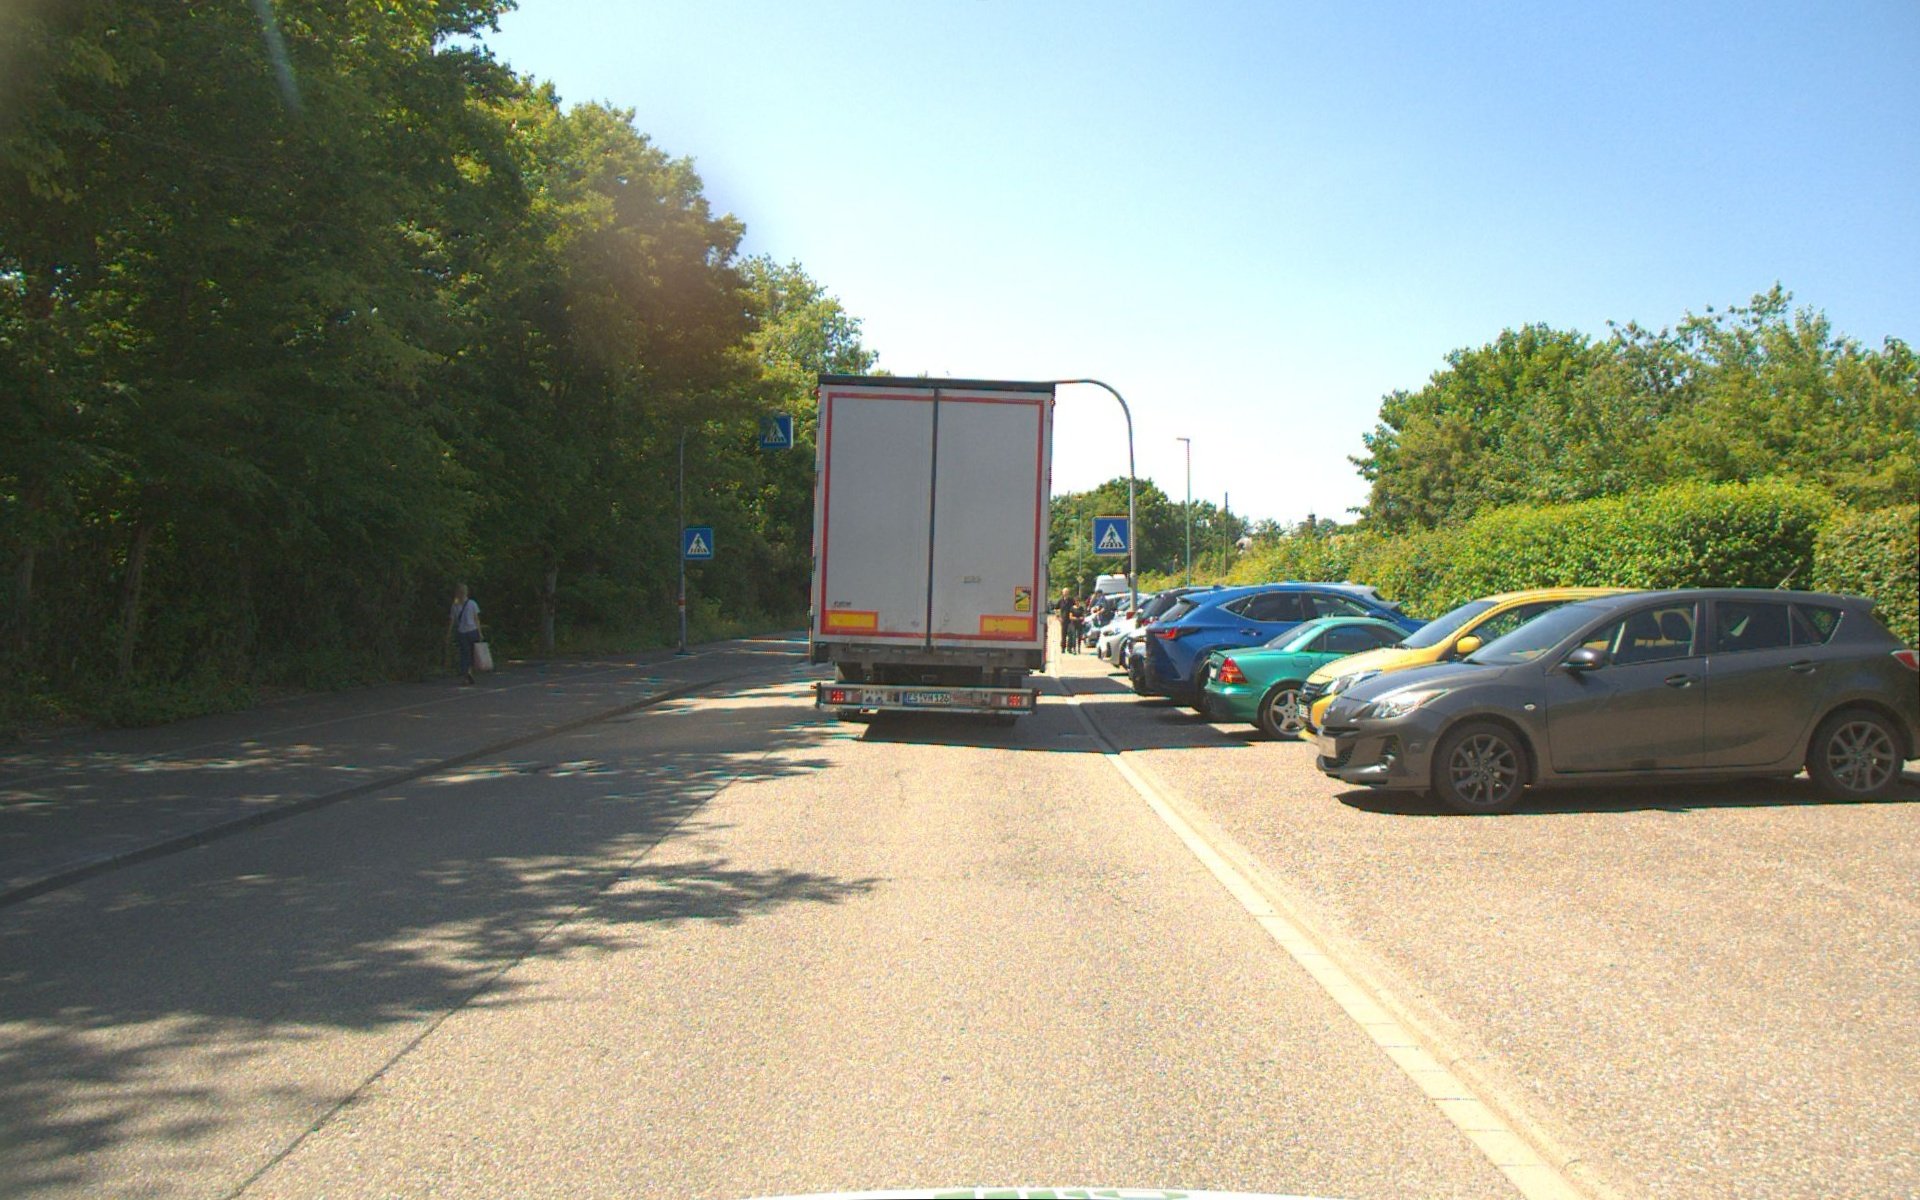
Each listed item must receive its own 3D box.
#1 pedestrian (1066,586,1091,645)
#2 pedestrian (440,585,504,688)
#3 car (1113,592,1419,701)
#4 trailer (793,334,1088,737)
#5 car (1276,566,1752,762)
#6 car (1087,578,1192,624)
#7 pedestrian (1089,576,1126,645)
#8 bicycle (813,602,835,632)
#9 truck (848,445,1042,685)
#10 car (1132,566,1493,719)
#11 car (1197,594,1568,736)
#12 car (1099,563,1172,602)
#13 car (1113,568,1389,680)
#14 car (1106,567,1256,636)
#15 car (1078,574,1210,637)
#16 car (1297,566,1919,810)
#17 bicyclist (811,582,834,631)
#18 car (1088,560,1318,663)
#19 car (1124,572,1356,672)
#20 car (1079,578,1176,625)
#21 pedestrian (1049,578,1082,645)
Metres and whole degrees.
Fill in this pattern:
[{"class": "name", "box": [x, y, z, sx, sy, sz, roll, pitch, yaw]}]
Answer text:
[{"class": "pedestrian", "box": [3.388, 0.437, 47.218, 0.577, 1.643, 0.745, -4, 0, 6]}, {"class": "pedestrian", "box": [-8.023, 0.585, 27.236, 0.811, 1.651, 0.783, 1, 0, -1]}, {"class": "car", "box": [4.427, 0.648, 24.223, 4.052, 1.464, 1.812, -1, 0, -8]}, {"class": "trailer", "box": [-0.208, -0.751, 22.981, 3.049, 4.174, 11.536, 0, 1, 0]}, {"class": "car", "box": [4.977, 0.552, 15.229, 3.724, 1.480, 1.774, -3, 0, -1]}, {"class": "car", "box": [7.065, 0.039, 65.378, 3.877, 1.647, 1.813, -2, 0, -2]}, {"class": "pedestrian", "box": [4.074, 0.289, 45.661, 0.888, 1.829, 0.936, -4, 0, 6]}, {"class": "bicycle", "box": [-4.988, 0.618, 60.649, 0.444, 1.065, 2.205, 0, 0, 5]}, {"class": "truck", "box": [-0.185, -0.597, 29.444, 3.049, 3.790, 6.414, 0, 1, 1]}, {"class": "car", "box": [4.408, 0.510, 21.109, 4.152, 1.662, 1.823, -3, 0, -1]}, {"class": "car", "box": [4.585, 0.689, 18.333, 3.658, 1.290, 1.628, -3, 0, 1]}, {"class": "car", "box": [9.733, -0.972, 92.043, 3.874, 1.829, 1.814, -3, -2, 4]}, {"class": "car", "box": [4.697, 0.399, 27.173, 4.150, 1.683, 1.899, -1, -1, -1]}, {"class": "car", "box": [6.259, 0.044, 47.104, 3.879, 1.697, 1.812, -3, 0, -5]}, {"class": "car", "box": [5.860, 0.152, 52.899, 3.879, 1.697, 1.812, -3, 2, -4]}, {"class": "car", "box": [4.723, 0.591, 12.139, 4.079, 1.521, 1.882, -2, 0, -1]}, {"class": "bicyclist", "box": [-5.008, 0.241, 60.379, 0.701, 1.789, 0.796, 0, 0, 5]}, {"class": "car", "box": [4.913, 0.231, 33.833, 4.316, 1.727, 1.876, -4, 0, -2]}, {"class": "car", "box": [5.216, 0.403, 31.211, 4.040, 1.686, 1.887, -2, 0, 1]}, {"class": "car", "box": [7.198, 0.058, 71.325, 3.877, 1.796, 1.813, -3, 0, -2]}, {"class": "pedestrian", "box": [3.083, 0.333, 48.133, 0.804, 1.866, 0.793, -4, 0, 6]}]
